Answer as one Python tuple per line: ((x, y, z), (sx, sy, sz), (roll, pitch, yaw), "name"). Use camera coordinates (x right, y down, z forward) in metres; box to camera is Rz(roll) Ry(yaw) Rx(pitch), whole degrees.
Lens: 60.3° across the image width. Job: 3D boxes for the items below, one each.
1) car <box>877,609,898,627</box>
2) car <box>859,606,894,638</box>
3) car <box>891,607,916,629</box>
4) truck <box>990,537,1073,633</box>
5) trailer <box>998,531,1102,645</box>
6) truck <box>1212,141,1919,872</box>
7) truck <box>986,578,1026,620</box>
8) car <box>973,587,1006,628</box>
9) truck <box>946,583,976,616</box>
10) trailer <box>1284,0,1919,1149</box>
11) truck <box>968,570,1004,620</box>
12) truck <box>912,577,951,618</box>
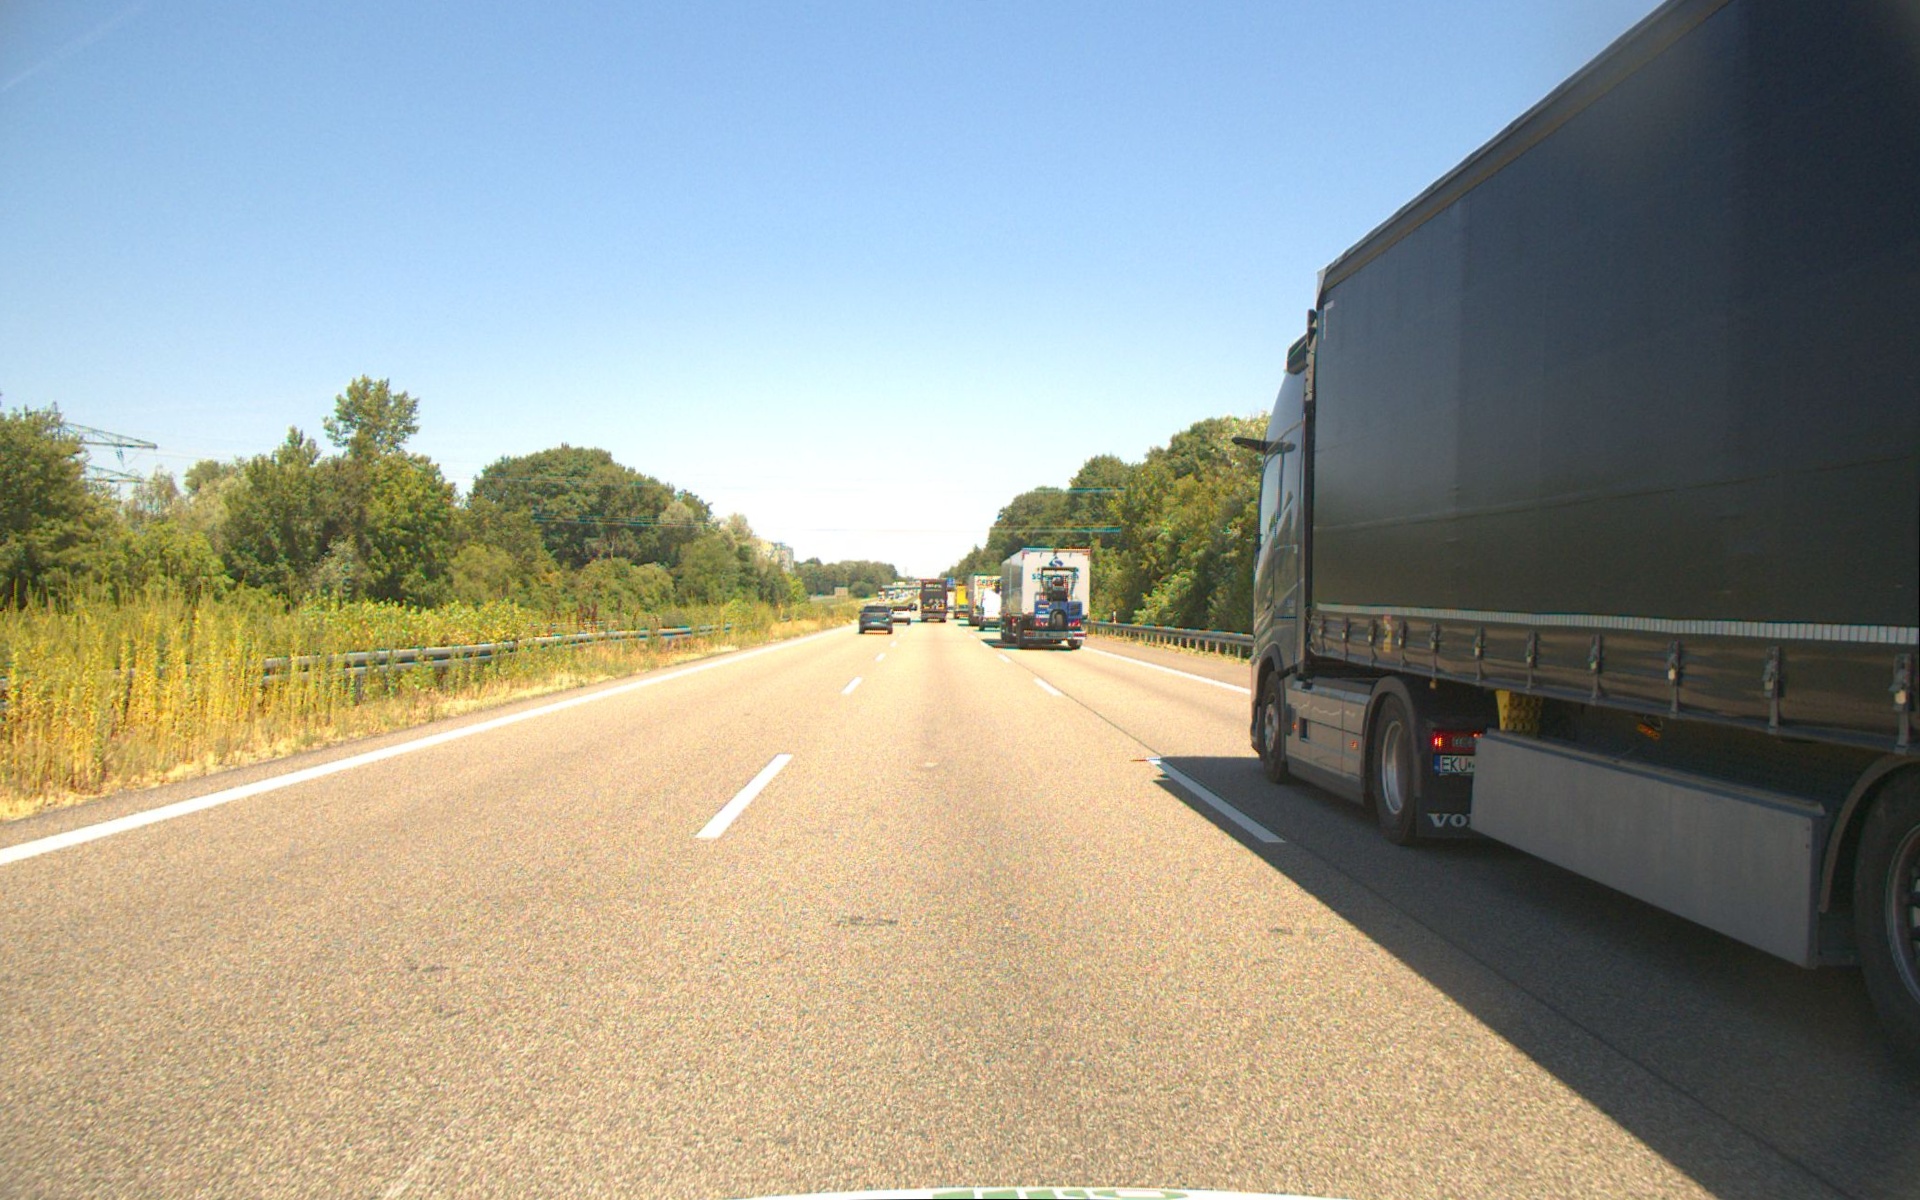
((-6.759, 1.676, 154.503), (1.862, 1.557, 4.083), (1, 1, -1), "car")
((-4.469, 1.186, 89.375), (1.723, 1.557, 4.285), (1, 1, -1), "car")
((-4.499, 1.415, 132.443), (1.862, 1.557, 4.083), (1, 1, -1), "car")
((3.063, -0.707, 73.855), (2.996, 3.946, 10.032), (1, 1, -1), "truck")
((3.336, -0.523, 63.917), (3.059, 3.995, 9.933), (1, 1, -2), "trailer")
((4.315, -0.516, 13.180), (3.394, 4.250, 6.842), (1, -1, -1), "truck")
((4.366, -0.147, 158.614), (3.592, 3.790, 7.108), (1, 1, 0), "truck")
((1.857, 0.469, 104.610), (1.869, 2.467, 4.285), (1, 1, -1), "car")
((0.116, -0.055, 198.034), (3.418, 3.790, 7.108), (1, 1, 0), "truck")
((4.397, -0.552, 6.413), (3.365, 4.254, 13.630), (1, 0, -1), "trailer")
((2.009, -0.435, 131.487), (2.735, 3.790, 7.108), (1, 1, 0), "truck")
((-2.683, -0.298, 158.363), (3.592, 3.790, 7.108), (1, 1, 0), "truck")
